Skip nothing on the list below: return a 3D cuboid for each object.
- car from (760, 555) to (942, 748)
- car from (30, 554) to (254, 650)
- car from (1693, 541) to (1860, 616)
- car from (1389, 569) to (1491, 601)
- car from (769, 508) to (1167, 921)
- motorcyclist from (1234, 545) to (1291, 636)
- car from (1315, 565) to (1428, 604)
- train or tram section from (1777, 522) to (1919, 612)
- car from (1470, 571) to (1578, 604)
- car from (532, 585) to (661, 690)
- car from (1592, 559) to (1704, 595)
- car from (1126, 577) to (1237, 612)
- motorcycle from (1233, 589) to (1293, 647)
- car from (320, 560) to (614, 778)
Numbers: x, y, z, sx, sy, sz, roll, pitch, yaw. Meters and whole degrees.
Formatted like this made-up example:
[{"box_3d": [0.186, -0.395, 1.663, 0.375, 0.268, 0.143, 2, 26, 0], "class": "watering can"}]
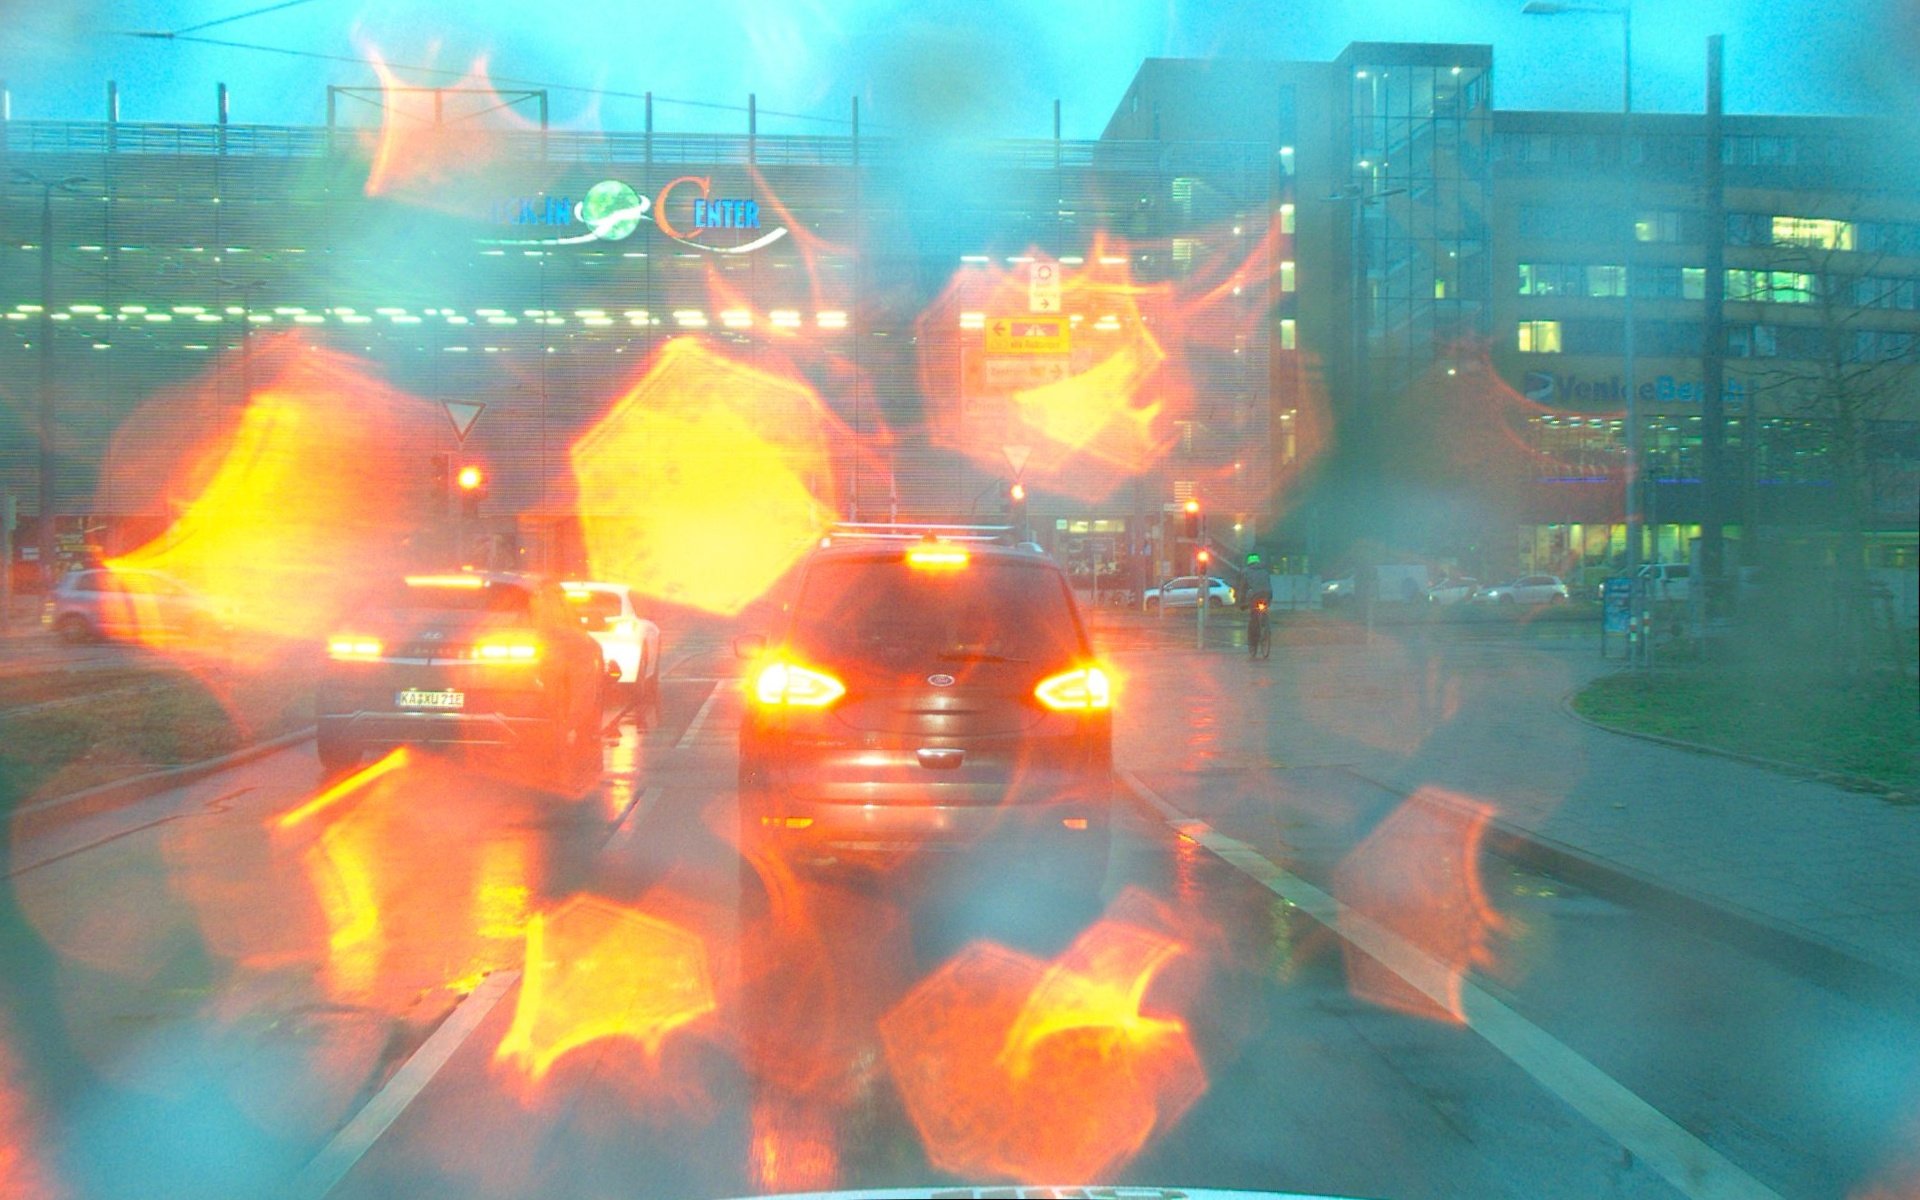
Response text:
[{"box_3d": [-1.179, 0.458, 16.660, 1.605, 1.726, 3.665, 1, 0, -7], "class": "car"}, {"box_3d": [-17.582, 0.013, 35.739, 3.919, 1.907, 1.993, -2, 2, -14], "class": "car"}, {"box_3d": [24.285, -0.634, 49.220, 4.288, 2.048, 1.990, 2, 1, -19], "class": "car"}, {"box_3d": [21.840, -0.683, 75.334, 4.138, 1.414, 1.796, -1, 0, -10], "class": "car"}, {"box_3d": [-0.120, 0.487, 9.385, 1.701, 1.768, 4.243, 2, 1, -5], "class": "car"}, {"box_3d": [5.302, -0.171, 29.057, 0.850, 1.561, 1.108, 0, 0, 3], "class": "motorcyclist"}, {"box_3d": [17.572, -0.658, 70.648, 4.338, 1.623, 1.796, -1, 0, -10], "class": "car"}, {"box_3d": [39.470, -1.321, 64.887, 16.344, 3.317, 2.325, -1, 0, -18], "class": "train or tram section"}, {"box_3d": [24.606, -0.559, 72.224, 4.138, 1.414, 1.796, -1, 0, -10], "class": "car"}, {"box_3d": [-4.822, 0.440, 22.321, 1.512, 1.273, 4.058, 0, 0, -10], "class": "car"}, {"box_3d": [30.650, -1.012, 73.705, 4.350, 1.561, 1.796, -1, 0, -10], "class": "car"}, {"box_3d": [9.330, -0.229, 69.723, 4.338, 1.414, 1.796, -1, 0, -10], "class": "car"}, {"box_3d": [5.316, 0.304, 29.106, 0.835, 0.988, 1.582, 0, 0, 3], "class": "motorcycle"}, {"box_3d": [-4.069, 0.492, 14.280, 1.719, 1.601, 3.995, 0, 0, -6], "class": "car"}]
